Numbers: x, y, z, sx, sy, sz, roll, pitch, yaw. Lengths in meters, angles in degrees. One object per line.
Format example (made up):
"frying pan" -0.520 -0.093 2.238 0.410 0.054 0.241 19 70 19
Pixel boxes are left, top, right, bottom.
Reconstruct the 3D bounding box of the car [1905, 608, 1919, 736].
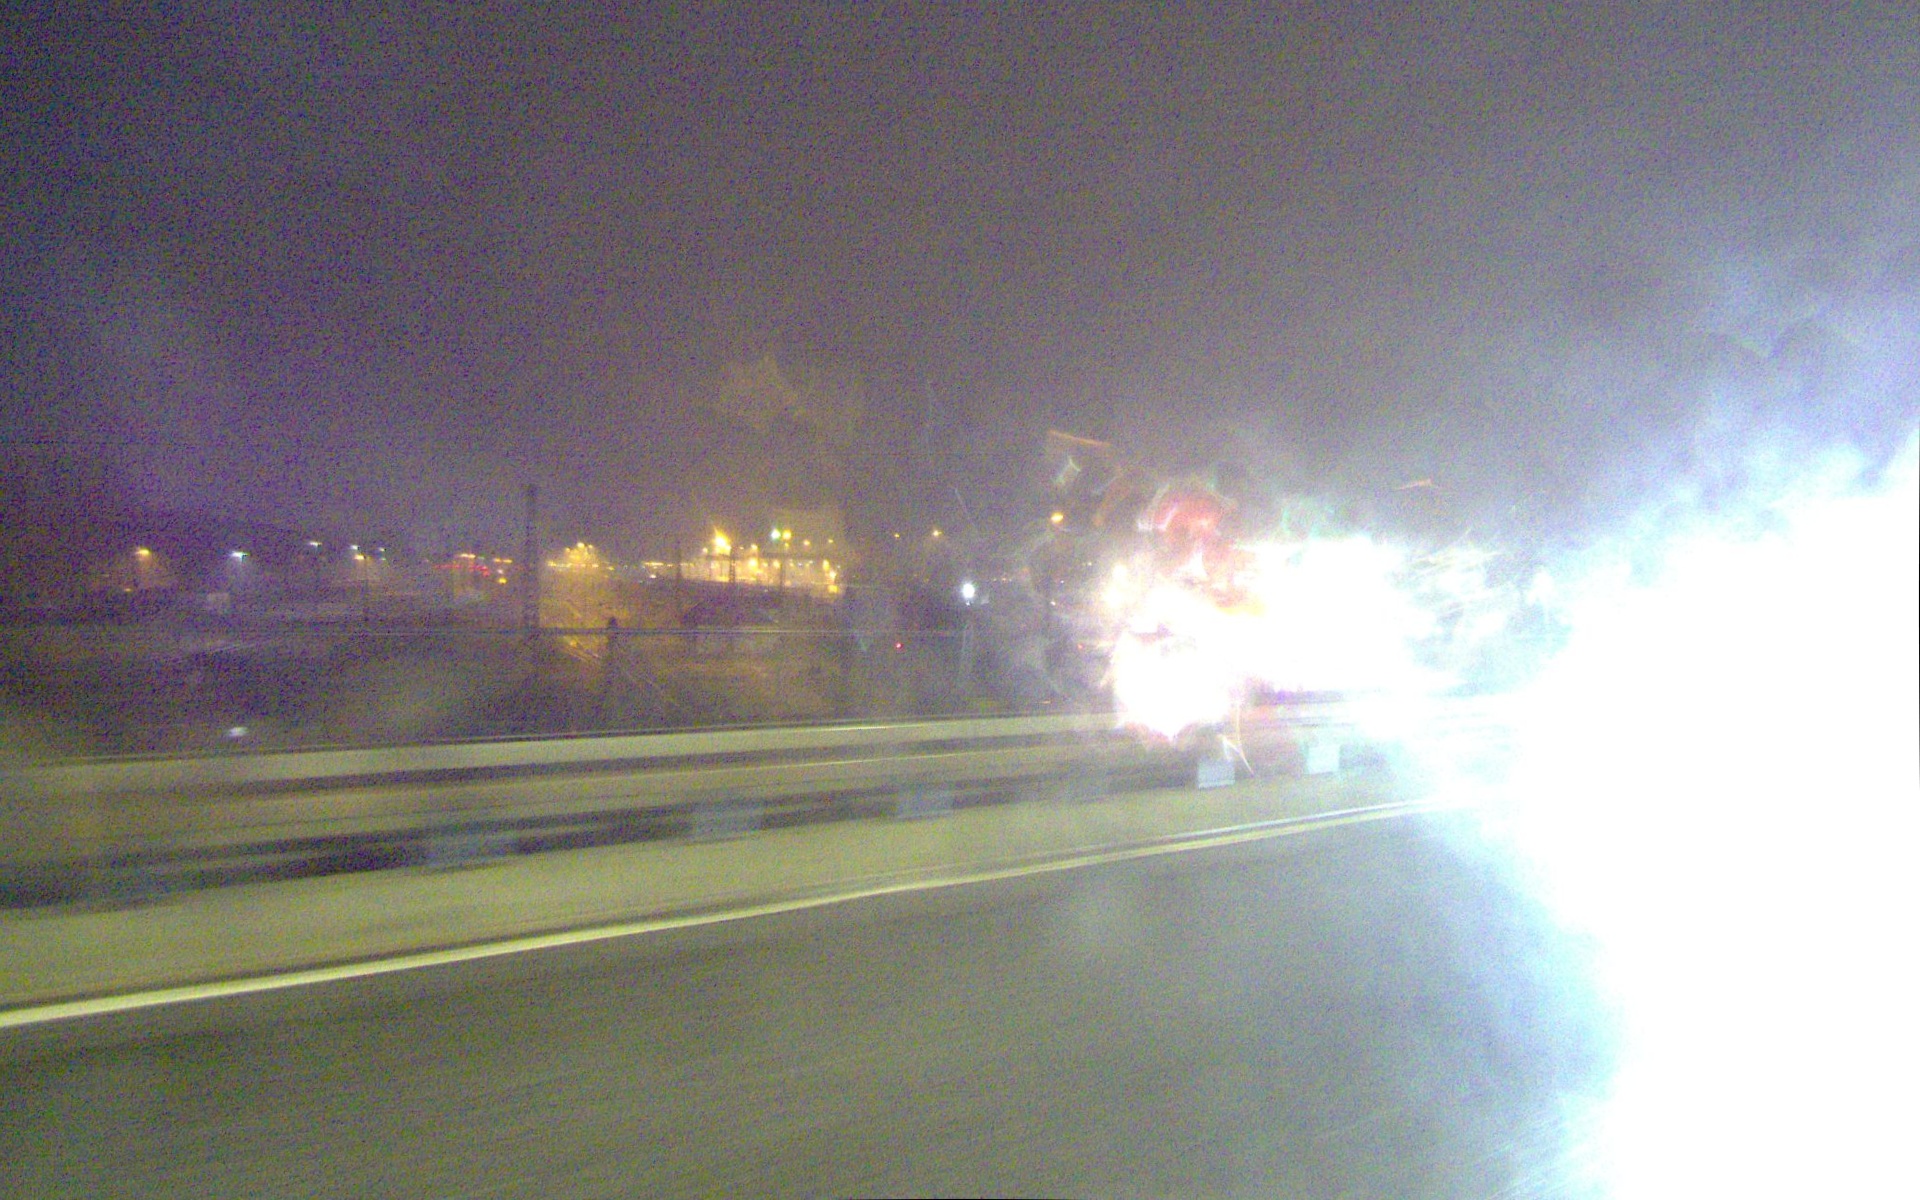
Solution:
"car" 15.087 1.014 14.364 4.278 1.727 1.764 2 -2 -39
